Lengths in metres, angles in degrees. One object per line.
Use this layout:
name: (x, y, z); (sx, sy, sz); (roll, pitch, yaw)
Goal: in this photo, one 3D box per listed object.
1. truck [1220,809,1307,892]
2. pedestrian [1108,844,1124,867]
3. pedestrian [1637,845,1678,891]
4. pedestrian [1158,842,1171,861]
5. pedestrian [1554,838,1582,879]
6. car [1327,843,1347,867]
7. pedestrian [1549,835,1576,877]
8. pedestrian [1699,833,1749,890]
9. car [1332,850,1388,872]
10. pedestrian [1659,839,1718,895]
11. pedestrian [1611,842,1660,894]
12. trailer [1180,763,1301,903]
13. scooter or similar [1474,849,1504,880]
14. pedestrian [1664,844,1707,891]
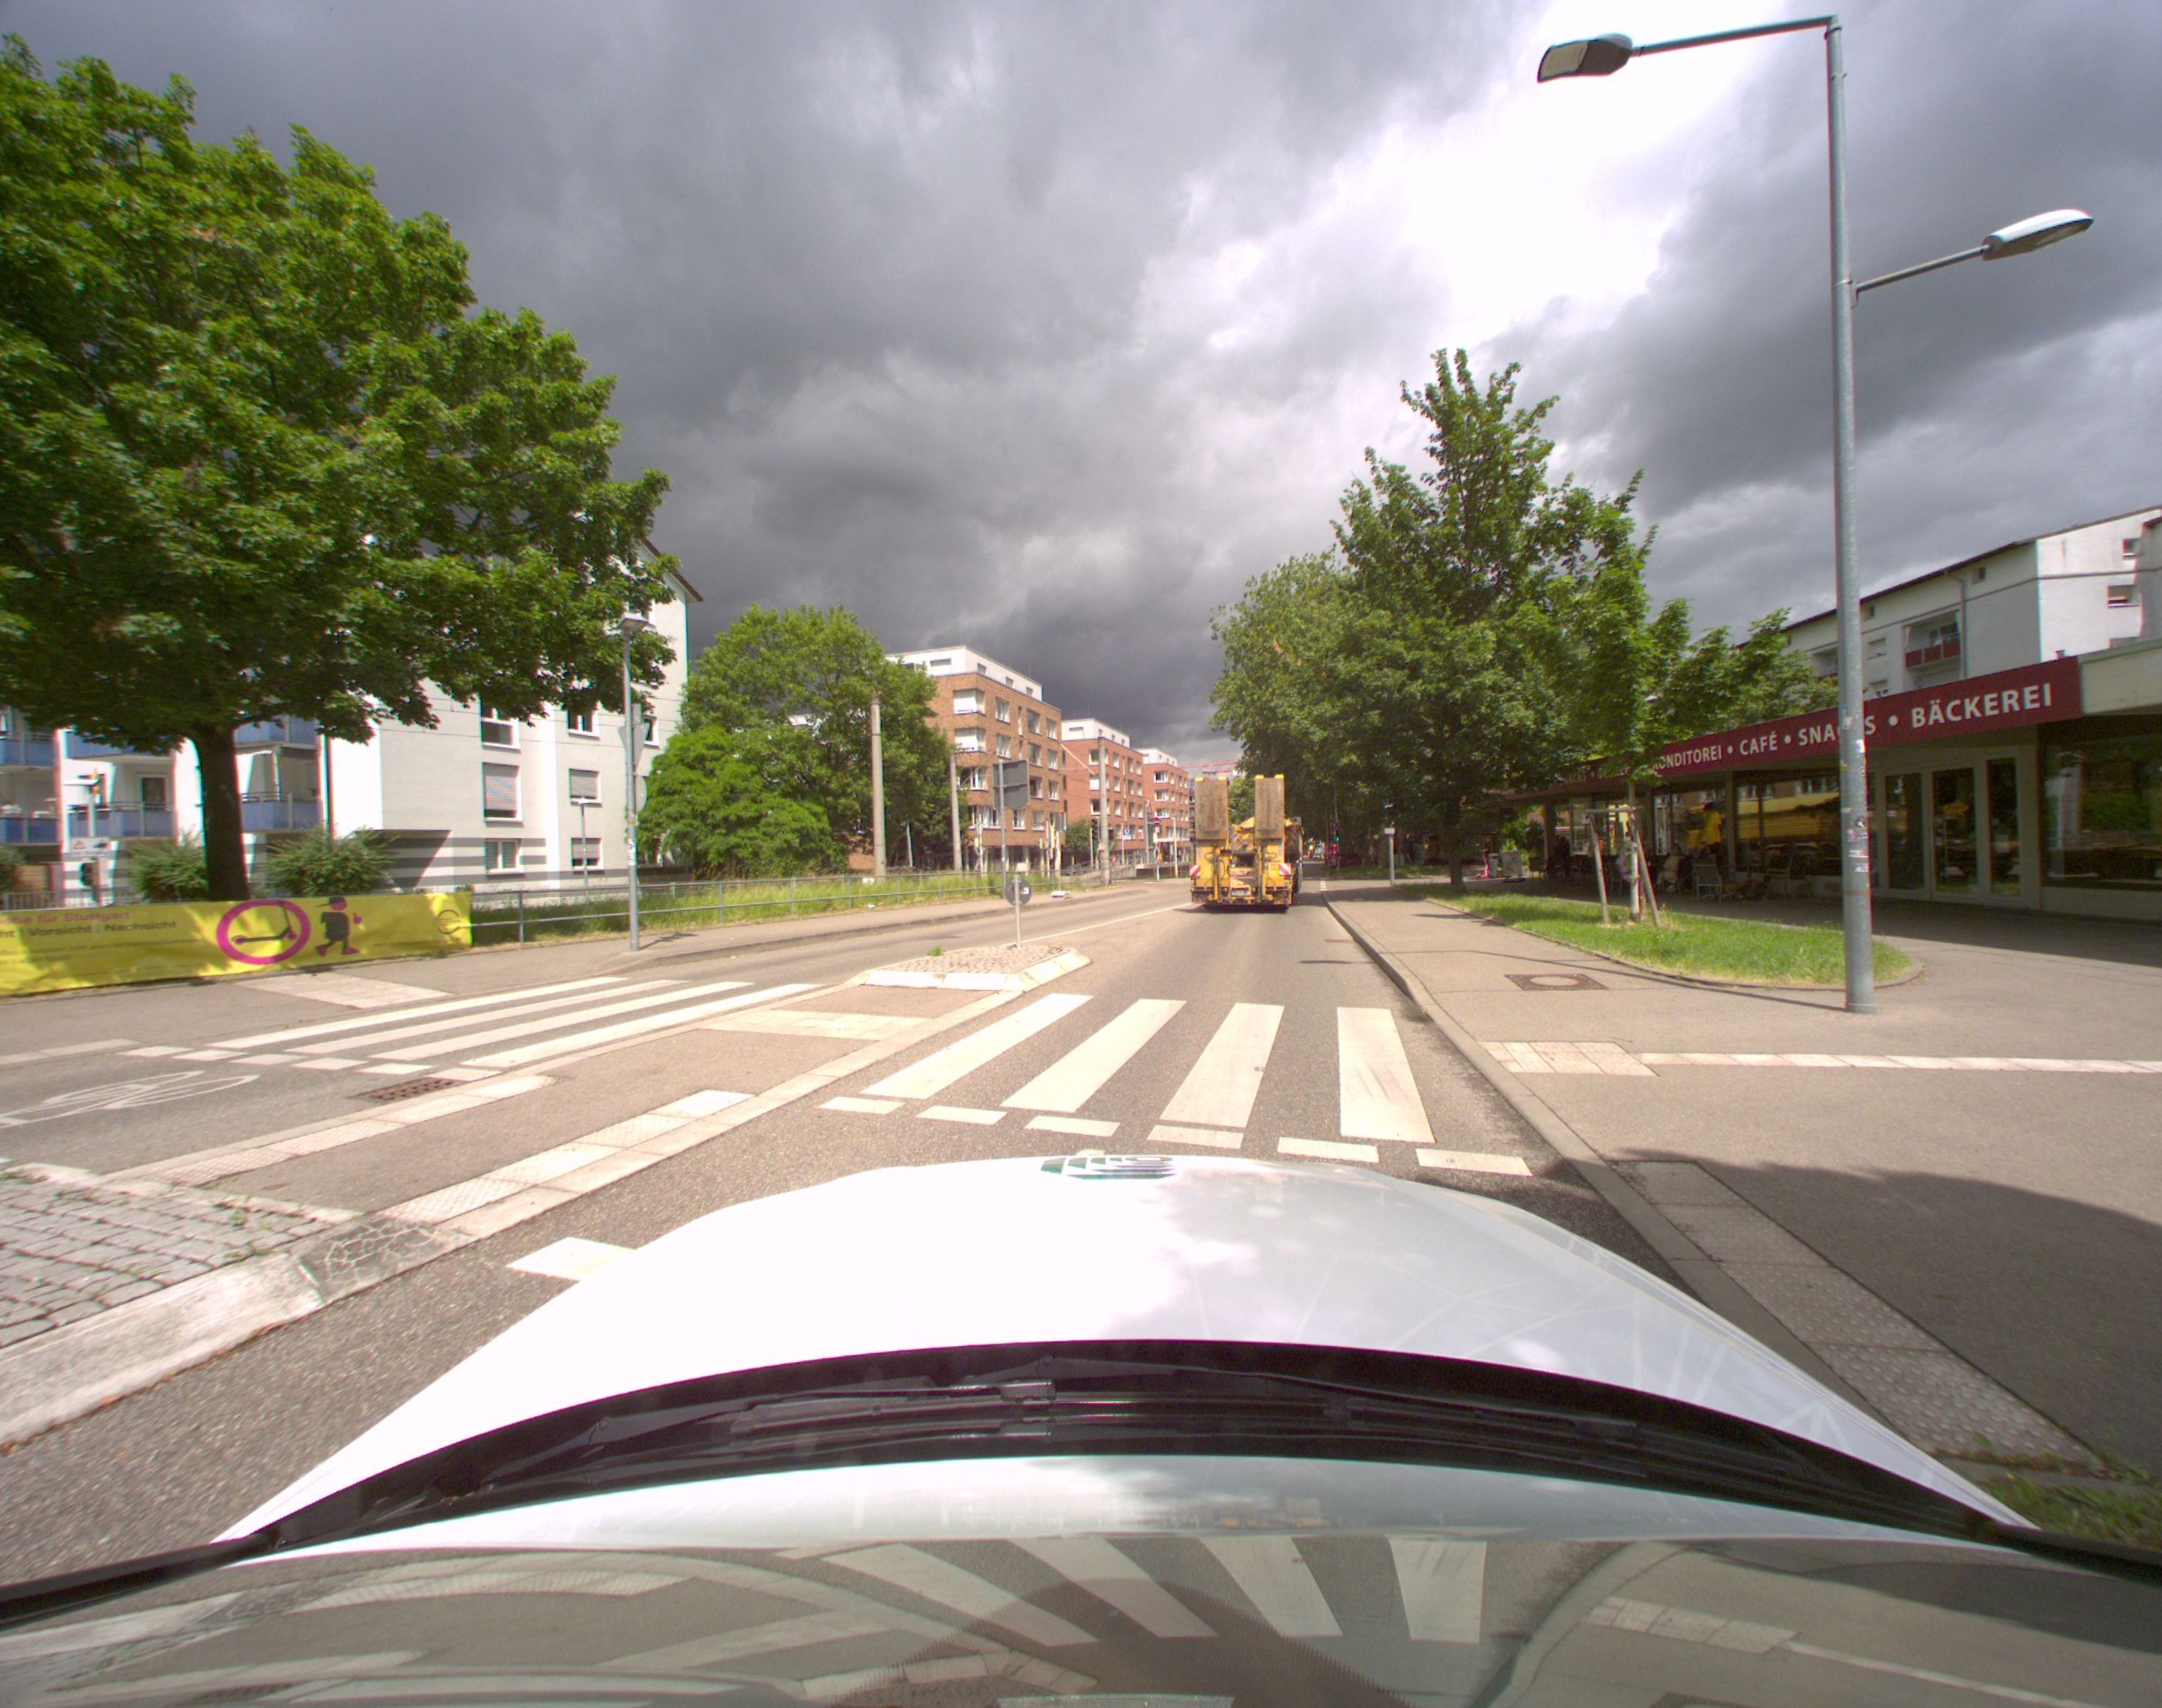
truck: (8.091, -0.132, 35.173); (2.965, 3.035, 8.522); (-2, -1, 17)
pedestrian: (3.239, 0.128, 74.609); (1.127, 2.014, 1.004); (-2, -1, 23)
pedestrian: (15.579, 0.366, 22.037); (0.711, 1.201, 0.702); (-2, -1, 21)
pedestrian: (9.020, -0.244, 88.066); (1.127, 2.014, 1.004); (-2, -1, 23)
pedestrian: (18.222, 0.183, 30.463); (0.692, 1.488, 0.559); (-2, -1, 11)
car: (31.061, 0.070, 98.576); (1.977, 2.827, 5.141); (2, 1, 20)
pedestrian: (18.352, 0.088, 31.026); (0.692, 1.573, 0.559); (-2, -1, 11)
pedestrian: (16.078, 0.178, 20.390); (0.712, 1.381, 0.701); (-2, -1, 14)
car: (21.346, 0.524, 62.239); (3.954, 1.511, 2.010); (-1, 3, 19)
pedestrian: (15.230, 0.310, 20.439); (0.873, 1.324, 0.825); (-2, 2, 7)
pedestrian: (14.603, 0.359, 21.460); (0.871, 1.325, 0.613); (-2, -1, 15)
trailer: (5.393, -0.504, 25.814); (2.843, 3.372, 10.884); (-3, -1, 15)
scooter or similar: (17.313, 0.427, 34.537); (1.741, 1.226, 0.513); (-3, 1, -44)
pedestrian: (16.112, 0.352, 21.736); (0.711, 1.201, 0.702); (-2, -1, 21)
